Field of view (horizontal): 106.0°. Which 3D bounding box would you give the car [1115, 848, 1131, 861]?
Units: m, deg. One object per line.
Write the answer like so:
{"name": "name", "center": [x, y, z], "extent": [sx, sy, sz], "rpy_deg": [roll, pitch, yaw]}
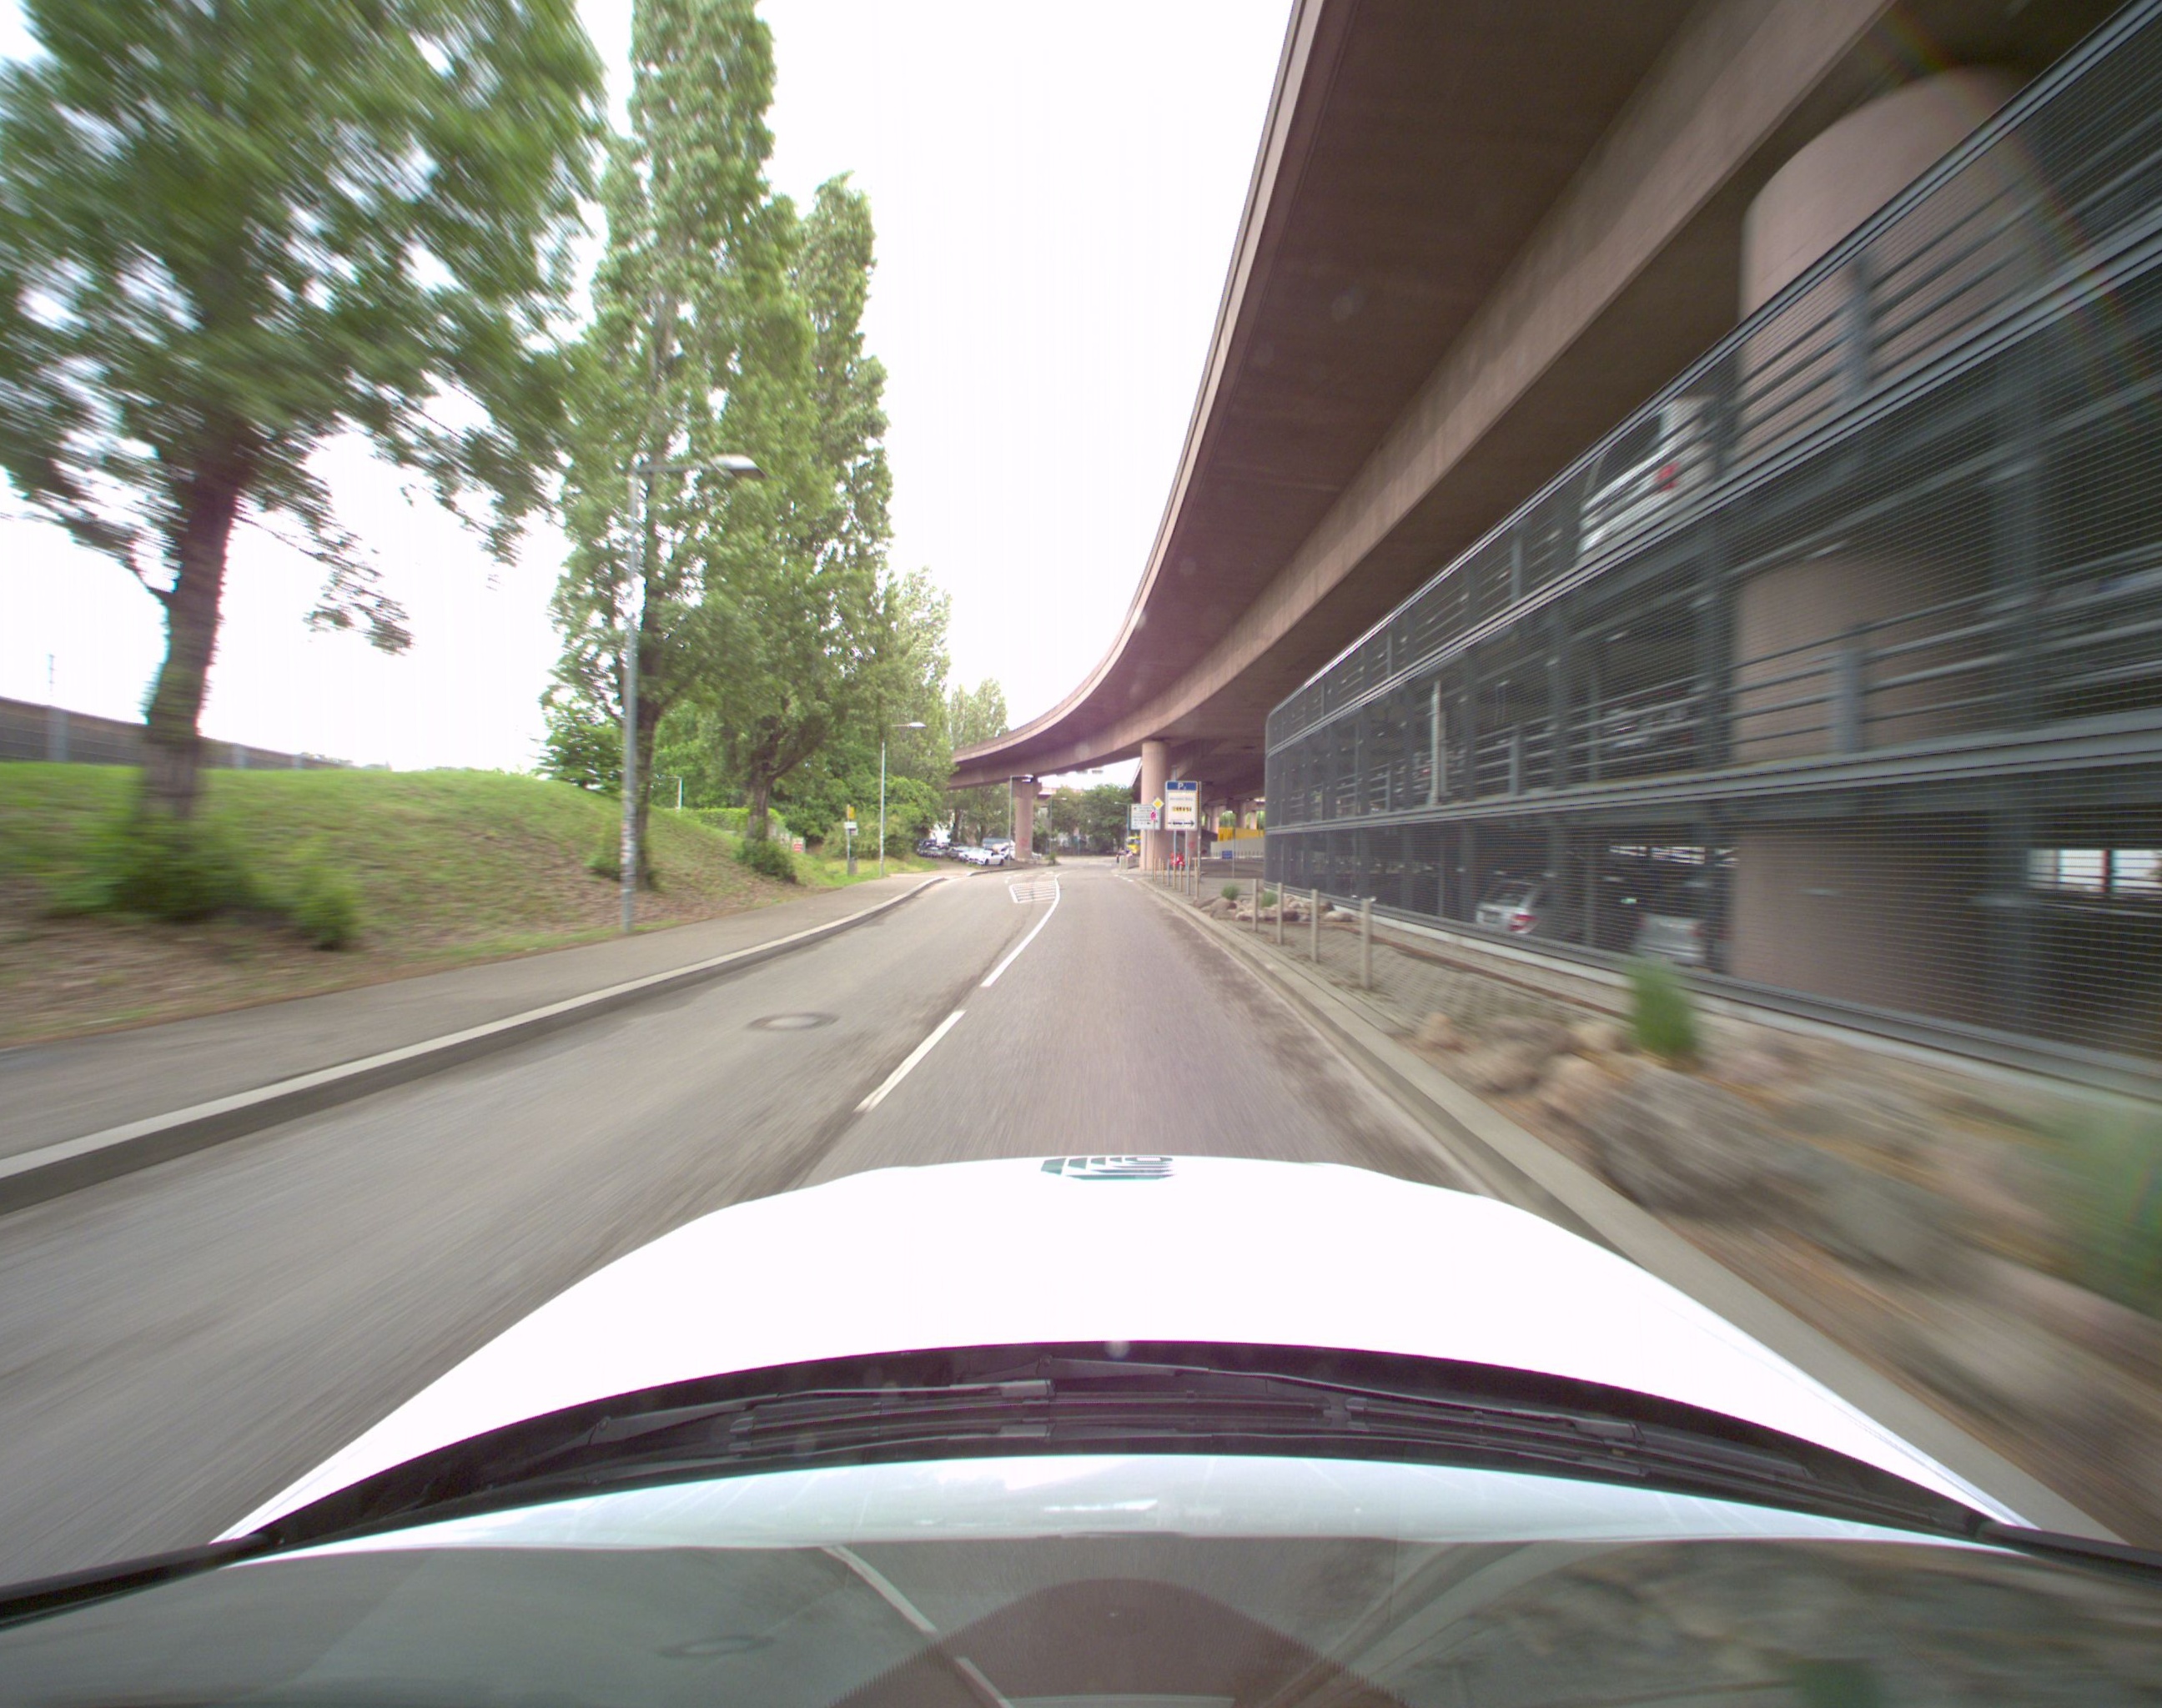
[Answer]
{"name": "car", "center": [5.763, 0.051, 111.204], "extent": [1.987, 1.679, 4.561], "rpy_deg": [1, 0, 1]}

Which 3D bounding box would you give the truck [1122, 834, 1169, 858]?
{"name": "truck", "center": [10.808, -1.366, 136.048], "extent": [8.292, 3.480, 2.901], "rpy_deg": [-3, 5, -43]}

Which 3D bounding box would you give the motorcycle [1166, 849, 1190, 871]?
{"name": "motorcycle", "center": [6.348, 0.371, 53.144], "extent": [0.797, 1.366, 2.118], "rpy_deg": [-1, 1, -16]}

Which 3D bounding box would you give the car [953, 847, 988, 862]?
{"name": "car", "center": [-11.067, 0.064, 81.890], "extent": [1.770, 1.454, 3.768], "rpy_deg": [1, 0, 25]}

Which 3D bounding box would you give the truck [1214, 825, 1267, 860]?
{"name": "truck", "center": [23.004, -1.627, 117.107], "extent": [3.108, 4.917, 8.769], "rpy_deg": [0, 0, 43]}

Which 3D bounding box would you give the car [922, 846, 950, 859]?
{"name": "car", "center": [-17.340, -0.210, 97.602], "extent": [1.630, 1.441, 3.753], "rpy_deg": [-1, 0, 19]}

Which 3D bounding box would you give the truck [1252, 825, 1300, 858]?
{"name": "truck", "center": [29.764, -1.845, 124.235], "extent": [3.108, 4.903, 8.769], "rpy_deg": [0, 0, 43]}

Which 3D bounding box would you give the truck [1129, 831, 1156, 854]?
{"name": "truck", "center": [12.242, -2.333, 163.125], "extent": [3.071, 4.299, 8.008], "rpy_deg": [-1, 2, -15]}

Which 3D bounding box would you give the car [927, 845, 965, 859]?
{"name": "car", "center": [-15.628, -0.303, 94.745], "extent": [1.840, 1.487, 4.917], "rpy_deg": [3, 2, 25]}

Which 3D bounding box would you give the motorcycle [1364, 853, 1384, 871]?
{"name": "motorcycle", "center": [19.525, 0.513, 54.350], "extent": [0.541, 1.105, 2.331], "rpy_deg": [0, 1, 2]}

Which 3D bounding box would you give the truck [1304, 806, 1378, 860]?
{"name": "truck", "center": [25.568, -1.988, 79.785], "extent": [3.108, 4.923, 9.785], "rpy_deg": [-1, 0, 42]}

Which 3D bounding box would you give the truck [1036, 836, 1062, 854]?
{"name": "truck", "center": [-6.881, -1.963, 174.002], "extent": [3.067, 3.618, 7.860], "rpy_deg": [-1, 2, -21]}

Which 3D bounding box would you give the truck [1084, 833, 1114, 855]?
{"name": "truck", "center": [3.321, -1.998, 153.315], "extent": [3.076, 3.867, 7.997], "rpy_deg": [-1, 2, -19]}

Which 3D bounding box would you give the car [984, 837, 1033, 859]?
{"name": "car", "center": [-9.563, -0.858, 107.710], "extent": [6.154, 2.724, 2.368], "rpy_deg": [1, 1, 0]}

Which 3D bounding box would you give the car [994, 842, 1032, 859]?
{"name": "car", "center": [-8.715, -0.436, 104.665], "extent": [4.528, 2.111, 1.856], "rpy_deg": [2, 0, 9]}

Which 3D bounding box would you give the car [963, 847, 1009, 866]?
{"name": "car", "center": [-8.614, 0.257, 74.348], "extent": [1.977, 1.480, 4.853], "rpy_deg": [4, 0, 22]}

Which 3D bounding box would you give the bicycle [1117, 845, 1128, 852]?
{"name": "bicycle", "center": [6.634, -0.878, 129.795], "extent": [0.807, 1.097, 2.111], "rpy_deg": [-1, 0, -29]}

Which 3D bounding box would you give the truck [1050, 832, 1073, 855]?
{"name": "truck", "center": [-4.244, -2.340, 177.640], "extent": [3.208, 4.779, 8.010], "rpy_deg": [-1, 2, -14]}

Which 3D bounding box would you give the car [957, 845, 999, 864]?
{"name": "car", "center": [-9.864, 0.107, 78.239], "extent": [1.977, 1.582, 4.423], "rpy_deg": [5, 0, 22]}

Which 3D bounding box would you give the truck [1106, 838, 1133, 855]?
{"name": "truck", "center": [7.247, -1.475, 153.939], "extent": [2.925, 2.898, 6.516], "rpy_deg": [-1, 2, -20]}

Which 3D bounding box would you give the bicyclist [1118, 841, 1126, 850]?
{"name": "bicyclist", "center": [6.590, -1.291, 129.861], "extent": [0.801, 1.405, 1.056], "rpy_deg": [-1, 0, -29]}

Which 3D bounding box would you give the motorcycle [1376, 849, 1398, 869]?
{"name": "motorcycle", "center": [20.658, 0.323, 54.985], "extent": [0.570, 1.105, 2.330], "rpy_deg": [0, 4, -1]}

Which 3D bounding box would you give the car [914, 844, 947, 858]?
{"name": "car", "center": [-18.627, -0.379, 100.919], "extent": [1.877, 1.675, 4.179], "rpy_deg": [-1, 0, 27]}

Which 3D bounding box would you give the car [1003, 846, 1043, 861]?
{"name": "car", "center": [-7.075, -0.116, 98.909], "extent": [4.349, 1.605, 1.962], "rpy_deg": [3, 1, 14]}

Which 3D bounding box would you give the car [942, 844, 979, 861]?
{"name": "car", "center": [-12.492, -0.176, 84.610], "extent": [1.840, 1.691, 4.188], "rpy_deg": [1, 0, 25]}
